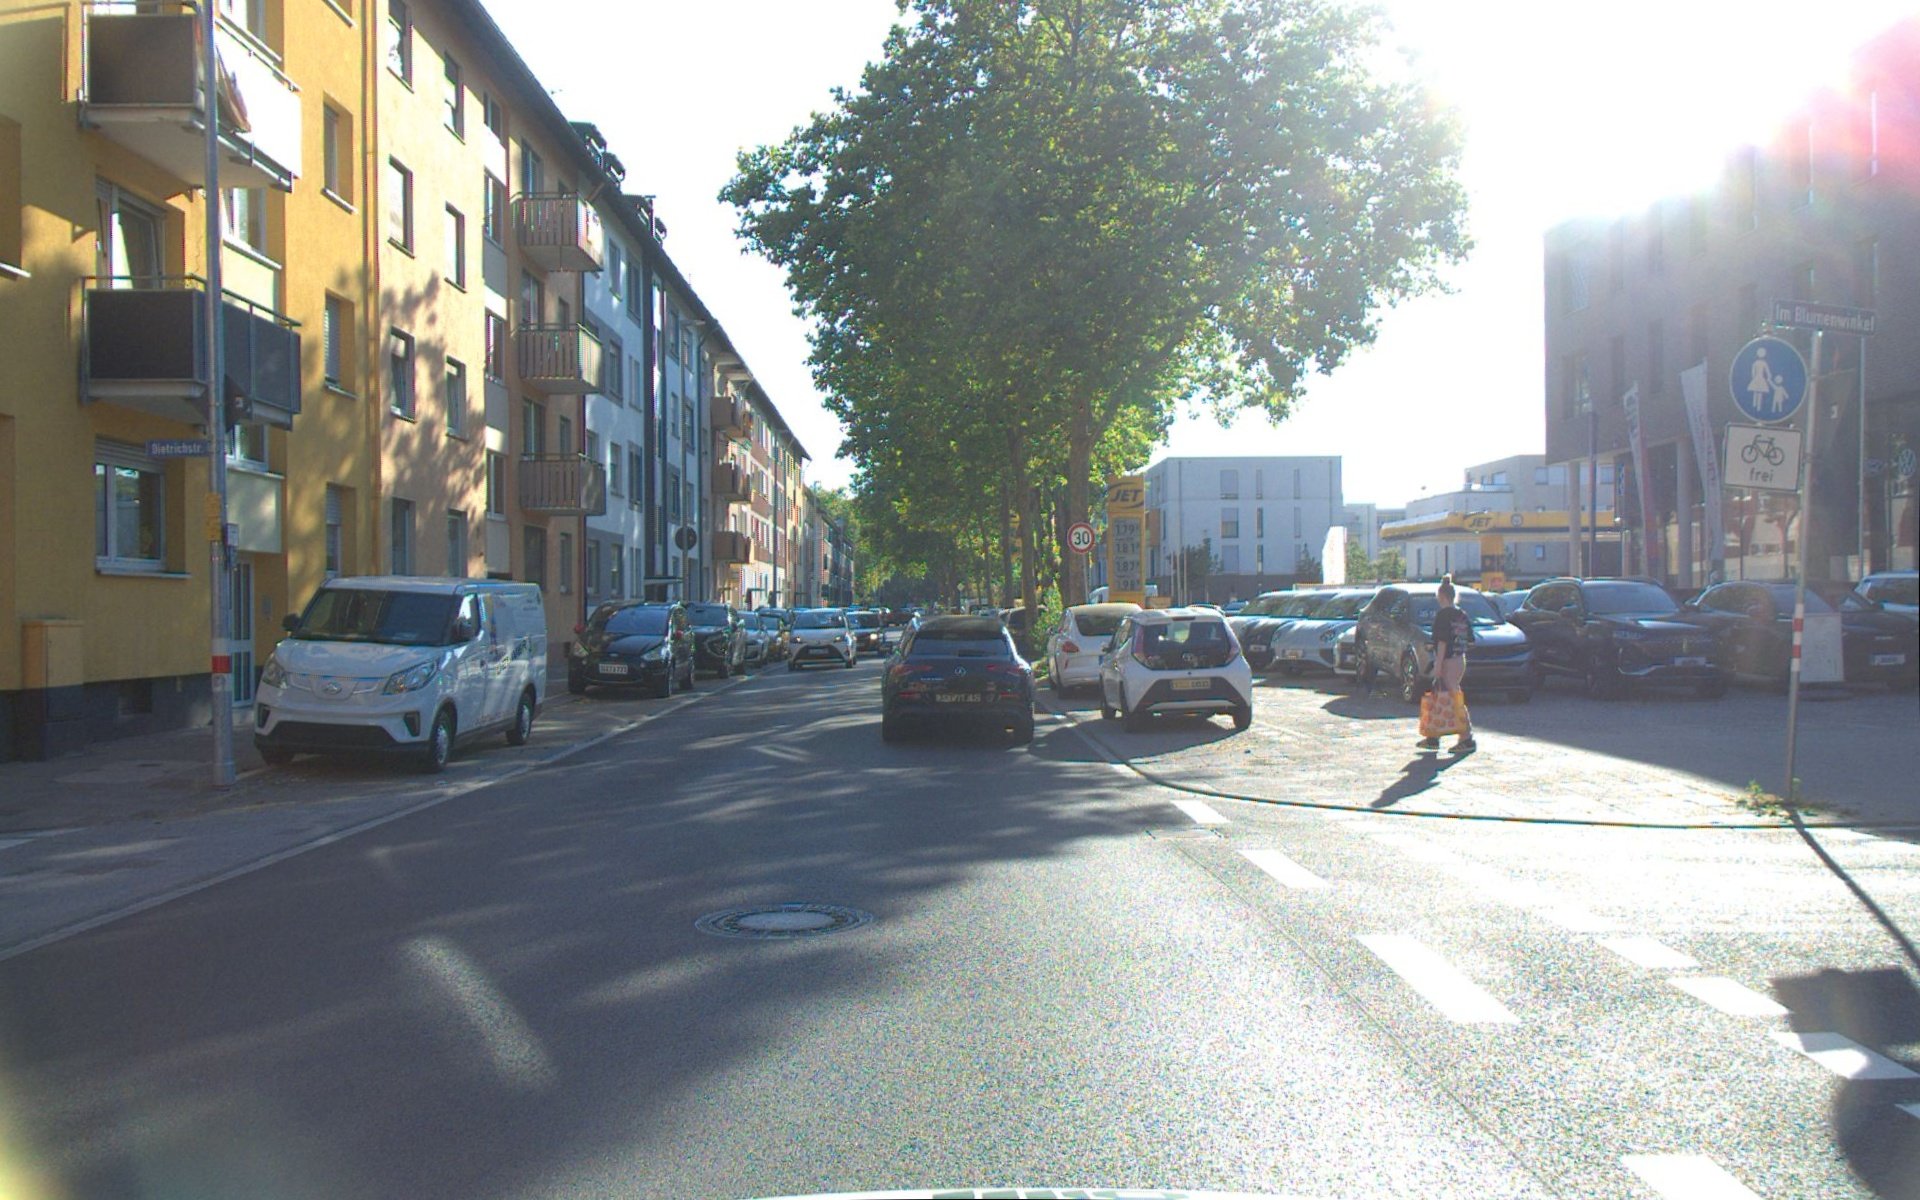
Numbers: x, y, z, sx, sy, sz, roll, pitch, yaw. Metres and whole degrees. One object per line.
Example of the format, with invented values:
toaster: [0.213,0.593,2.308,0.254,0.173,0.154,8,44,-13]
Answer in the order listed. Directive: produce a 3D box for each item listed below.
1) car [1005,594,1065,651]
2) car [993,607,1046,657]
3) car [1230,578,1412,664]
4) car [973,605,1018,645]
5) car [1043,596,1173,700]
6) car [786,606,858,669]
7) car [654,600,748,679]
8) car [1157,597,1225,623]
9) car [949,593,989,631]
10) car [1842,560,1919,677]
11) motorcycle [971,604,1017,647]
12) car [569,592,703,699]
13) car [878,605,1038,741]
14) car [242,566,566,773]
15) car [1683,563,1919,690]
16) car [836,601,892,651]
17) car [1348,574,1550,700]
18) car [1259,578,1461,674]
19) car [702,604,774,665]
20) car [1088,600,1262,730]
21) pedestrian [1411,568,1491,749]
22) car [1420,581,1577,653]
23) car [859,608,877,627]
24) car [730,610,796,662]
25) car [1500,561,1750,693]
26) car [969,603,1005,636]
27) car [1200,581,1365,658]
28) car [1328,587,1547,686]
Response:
car: [2.243,0.681,50.108,1.528,1.624,3.599,1,-1,-2]
car: [1.980,1.058,56.043,1.528,1.624,3.599,1,-1,-2]
car: [7.567,0.409,34.574,3.781,1.606,1.717,-2,1,-39]
car: [1.477,1.044,69.478,1.687,1.585,3.599,1,-1,-2]
car: [2.486,0.796,28.797,1.773,1.565,4.582,-3,-1,0]
car: [-3.567,0.938,43.190,1.606,1.550,3.933,0,0,-1]
car: [-5.851,0.854,37.825,1.564,1.670,4.410,1,0,-2]
car: [14.302,0.605,102.657,3.907,1.556,1.806,0,-2,-3]
car: [0.490,0.711,94.759,1.954,2.049,3.996,0,-2,-4]
car: [15.342,0.262,24.806,1.838,1.764,4.178,-1,0,-3]
motorcycle: [1.288,0.953,62.245,1.619,1.585,0.607,1,-1,-23]
car: [-5.921,0.782,30.750,1.710,1.819,4.547,1,0,-2]
car: [0.065,0.807,20.190,1.708,1.469,3.970,1,0,3]
car: [-5.843,0.654,18.136,1.698,1.940,5.209,0,0,1]
car: [12.713,0.361,24.844,1.692,1.714,4.178,-1,0,-3]
car: [-3.169,0.836,55.130,1.630,1.550,4.411,-2,0,-1]
car: [7.173,0.502,24.695,1.716,1.699,4.157,-1,0,-1]
car: [7.641,0.459,31.481,3.778,1.638,1.719,-2,1,-37]
car: [-5.981,0.906,44.869,1.516,1.550,4.003,1,0,-2]
car: [2.757,0.808,21.991,1.602,1.493,4.019,-2,-1,-2]
pedestrian: [4.867,0.569,16.424,0.677,1.753,0.722,-1,0,13]
car: [12.703,0.377,38.940,3.778,1.537,1.622,-2,1,-37]
car: [-9.898,1.848,178.236,1.868,1.982,3.998,0,-2,-2]
car: [-6.031,1.077,50.982,1.564,1.459,4.216,1,0,-1]
car: [9.815,0.368,24.812,1.789,1.762,4.365,-1,0,-3]
car: [1.300,0.962,81.535,1.600,1.585,3.599,1,-1,-2]
car: [7.490,0.435,38.275,3.781,1.606,1.722,-2,1,-39]
car: [8.324,0.590,28.753,3.774,1.572,1.643,-1,0,-35]
